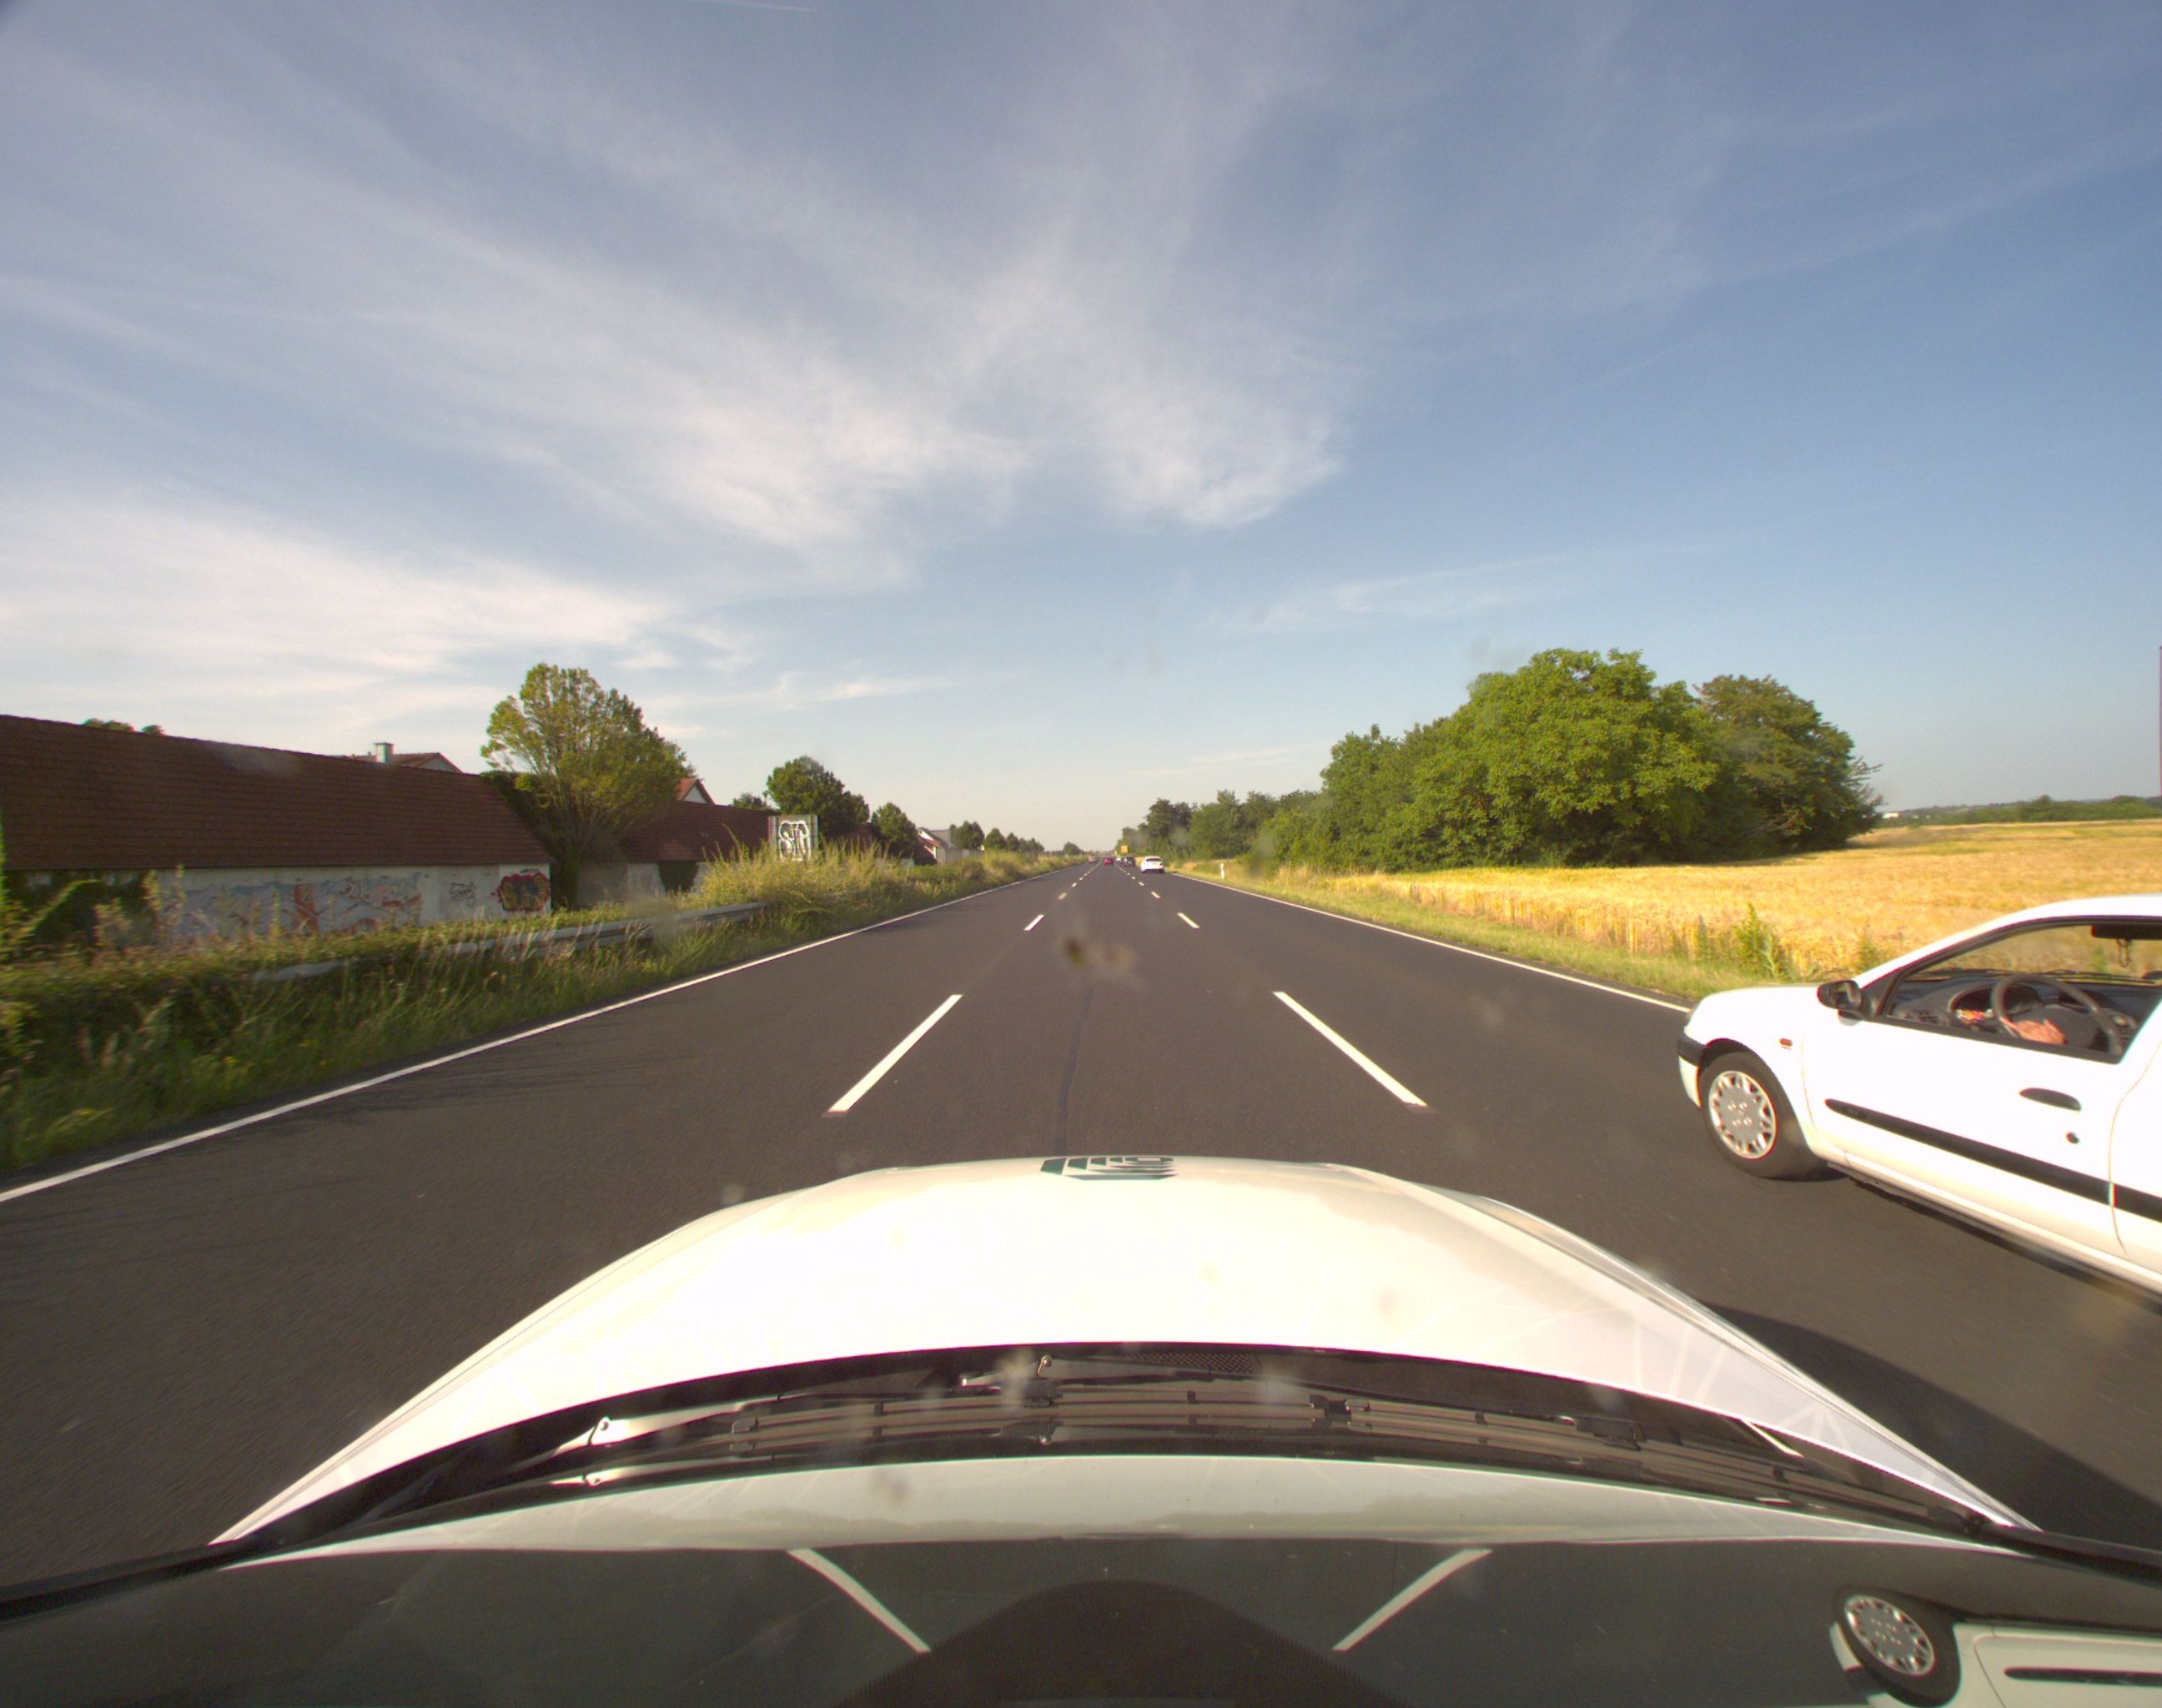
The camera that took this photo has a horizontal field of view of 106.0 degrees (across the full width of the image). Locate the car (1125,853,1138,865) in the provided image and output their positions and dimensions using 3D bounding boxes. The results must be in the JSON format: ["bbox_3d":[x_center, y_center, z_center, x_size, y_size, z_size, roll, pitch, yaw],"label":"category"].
[{"bbox_3d":[7.889,0.793,127.794,1.821,1.728,4.001,0,-1,1],"label":"car"}]

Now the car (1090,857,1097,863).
[{"bbox_3d":[3.262,1.563,211.089,1.751,1.618,4.003,0,-1,3],"label":"car"}]

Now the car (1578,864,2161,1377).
[{"bbox_3d":[3.775,0.739,2.931,1.611,1.387,3.952,-1,-1,1],"label":"car"}]

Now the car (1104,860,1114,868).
[{"bbox_3d":[5.380,1.896,156.316,1.806,1.436,3.858,0,-1,1],"label":"car"}]

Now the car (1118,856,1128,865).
[{"bbox_3d":[8.681,1.382,168.548,1.827,1.717,3.864,0,-1,2],"label":"car"}]

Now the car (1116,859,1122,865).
[{"bbox_3d":[10.920,2.397,235.494,1.840,1.750,4.002,0,-1,2],"label":"car"}]

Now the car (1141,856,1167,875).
[{"bbox_3d":[6.149,0.969,68.865,1.986,1.516,4.001,0,-1,2],"label":"car"}]
